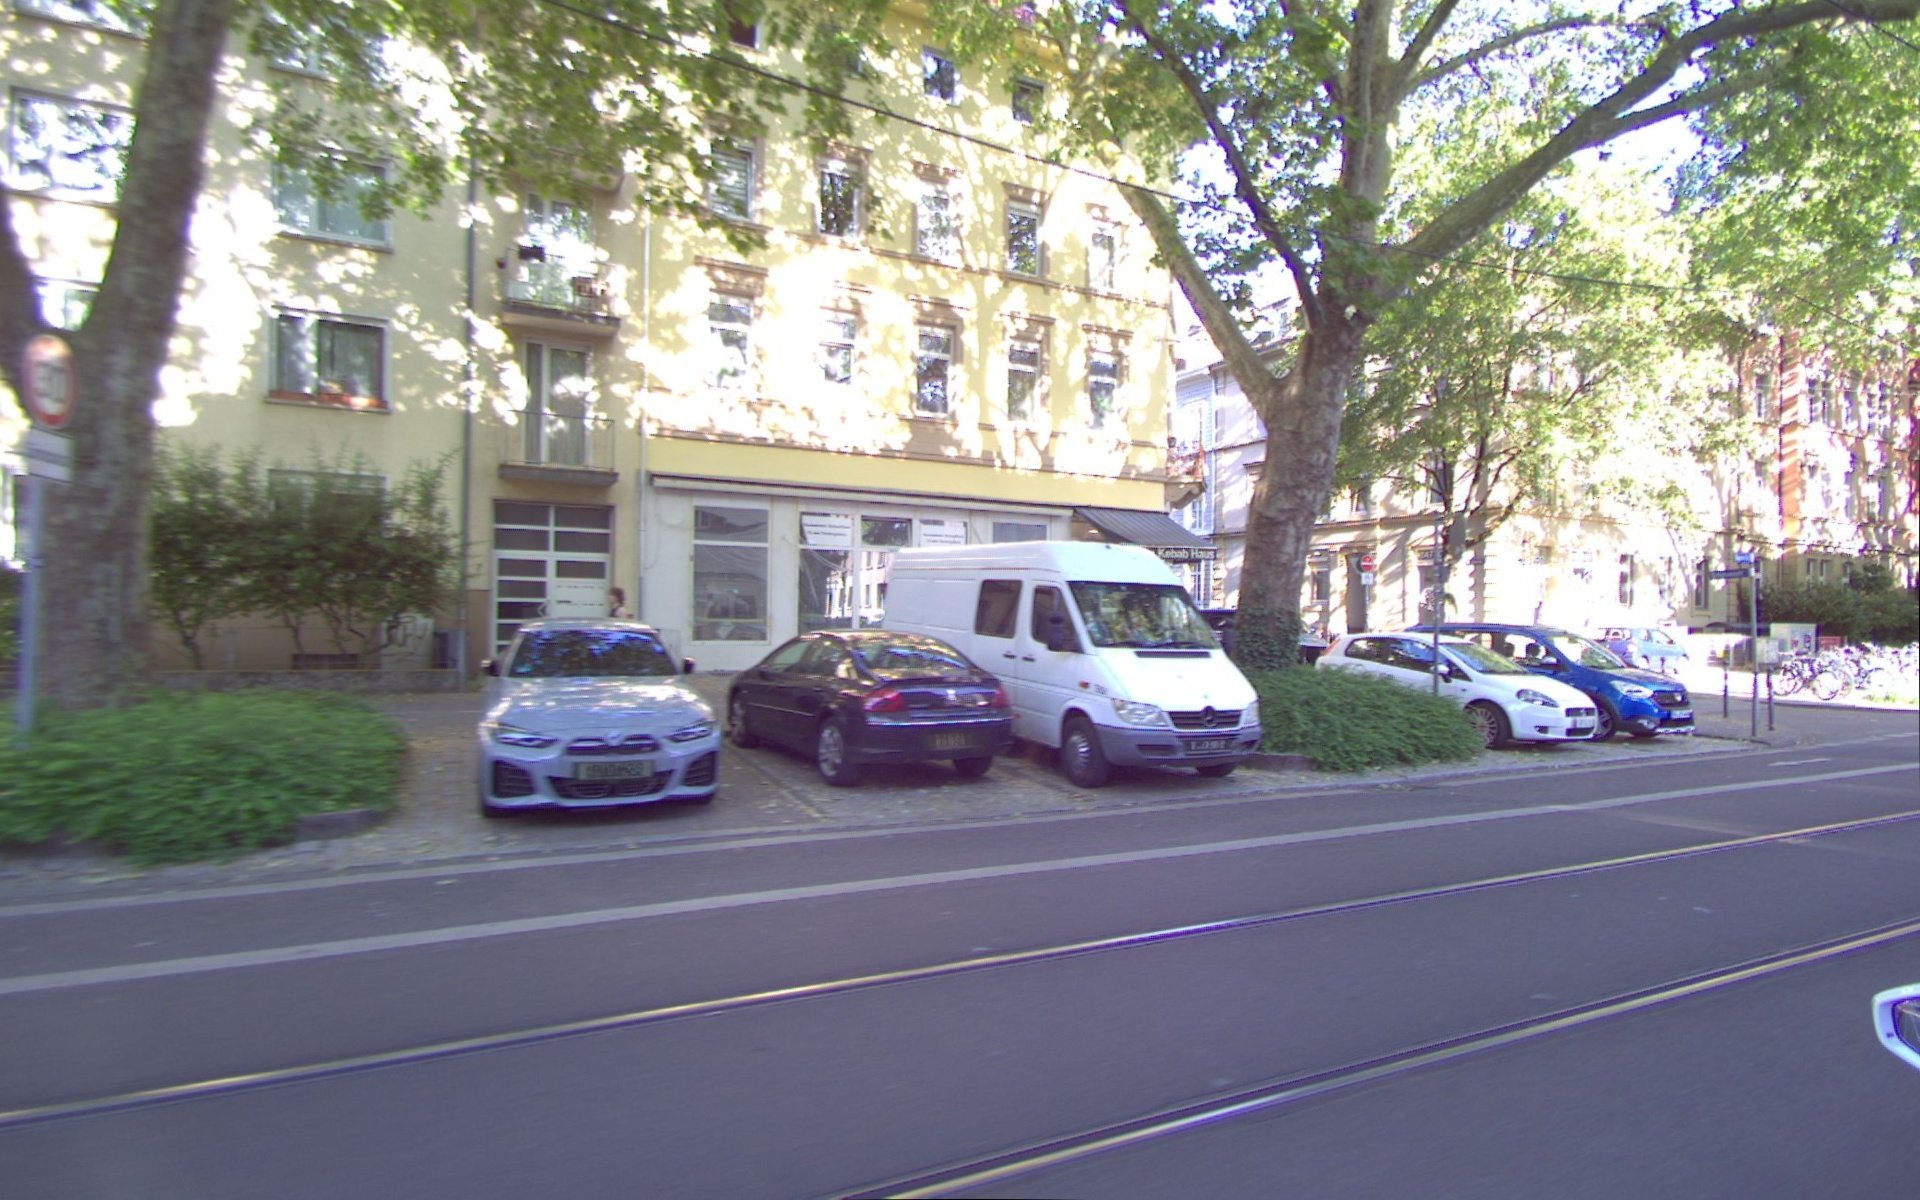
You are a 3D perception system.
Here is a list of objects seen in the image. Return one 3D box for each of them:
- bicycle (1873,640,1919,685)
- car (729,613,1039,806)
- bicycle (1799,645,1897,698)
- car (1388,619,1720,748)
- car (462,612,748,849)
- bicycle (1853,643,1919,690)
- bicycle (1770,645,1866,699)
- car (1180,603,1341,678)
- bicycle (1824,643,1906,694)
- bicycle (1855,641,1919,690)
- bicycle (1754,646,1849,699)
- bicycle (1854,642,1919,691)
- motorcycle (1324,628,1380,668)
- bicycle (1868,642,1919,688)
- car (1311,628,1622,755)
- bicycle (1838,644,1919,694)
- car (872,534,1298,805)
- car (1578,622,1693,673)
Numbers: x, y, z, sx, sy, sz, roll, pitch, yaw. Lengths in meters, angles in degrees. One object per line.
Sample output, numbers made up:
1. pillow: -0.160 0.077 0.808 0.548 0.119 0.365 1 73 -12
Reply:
1. bicycle: 24.653 1.609 25.733 0.586 1.102 1.922 1 -1 -8
2. car: -1.047 1.001 10.971 1.881 1.517 4.128 2 1 -28
3. bicycle: 20.159 1.604 22.845 0.389 1.102 1.860 1 -1 -8
4. car: 9.315 1.202 16.140 1.795 1.734 4.300 1 -1 -29
5. car: -3.560 0.940 9.591 1.973 1.465 4.916 1 1 -25
6. bicycle: 23.135 1.634 24.928 0.389 1.102 1.561 1 -1 -8
7. bicycle: 19.374 1.609 22.741 0.389 1.102 1.860 1 -1 -8
8. car: 8.574 1.139 29.094 2.097 1.905 4.566 4 -2 -20
9. bicycle: 21.213 1.594 23.577 0.389 1.102 1.561 1 -1 -8
10. bicycle: 22.508 1.567 24.188 0.389 1.102 1.561 1 -1 -8
11. bicycle: 18.950 1.616 22.668 0.389 1.102 1.860 1 -1 -8
12. bicycle: 22.094 1.558 23.730 0.389 1.102 1.561 1 -1 -8
13. motorcycle: 13.010 1.585 33.330 1.848 1.278 0.587 1 -1 -22
14. bicycle: 23.610 1.620 25.041 0.389 1.102 1.561 1 -1 -8
15. car: 7.223 1.217 14.679 1.727 1.538 3.752 1 -1 -29
16. bicycle: 21.655 1.608 23.684 0.389 1.102 1.561 1 -1 -8
17. car: 1.005 0.559 12.446 1.973 2.440 6.579 1 1 -26
18. car: 20.668 1.432 30.709 3.448 1.479 1.591 1 -1 -30
